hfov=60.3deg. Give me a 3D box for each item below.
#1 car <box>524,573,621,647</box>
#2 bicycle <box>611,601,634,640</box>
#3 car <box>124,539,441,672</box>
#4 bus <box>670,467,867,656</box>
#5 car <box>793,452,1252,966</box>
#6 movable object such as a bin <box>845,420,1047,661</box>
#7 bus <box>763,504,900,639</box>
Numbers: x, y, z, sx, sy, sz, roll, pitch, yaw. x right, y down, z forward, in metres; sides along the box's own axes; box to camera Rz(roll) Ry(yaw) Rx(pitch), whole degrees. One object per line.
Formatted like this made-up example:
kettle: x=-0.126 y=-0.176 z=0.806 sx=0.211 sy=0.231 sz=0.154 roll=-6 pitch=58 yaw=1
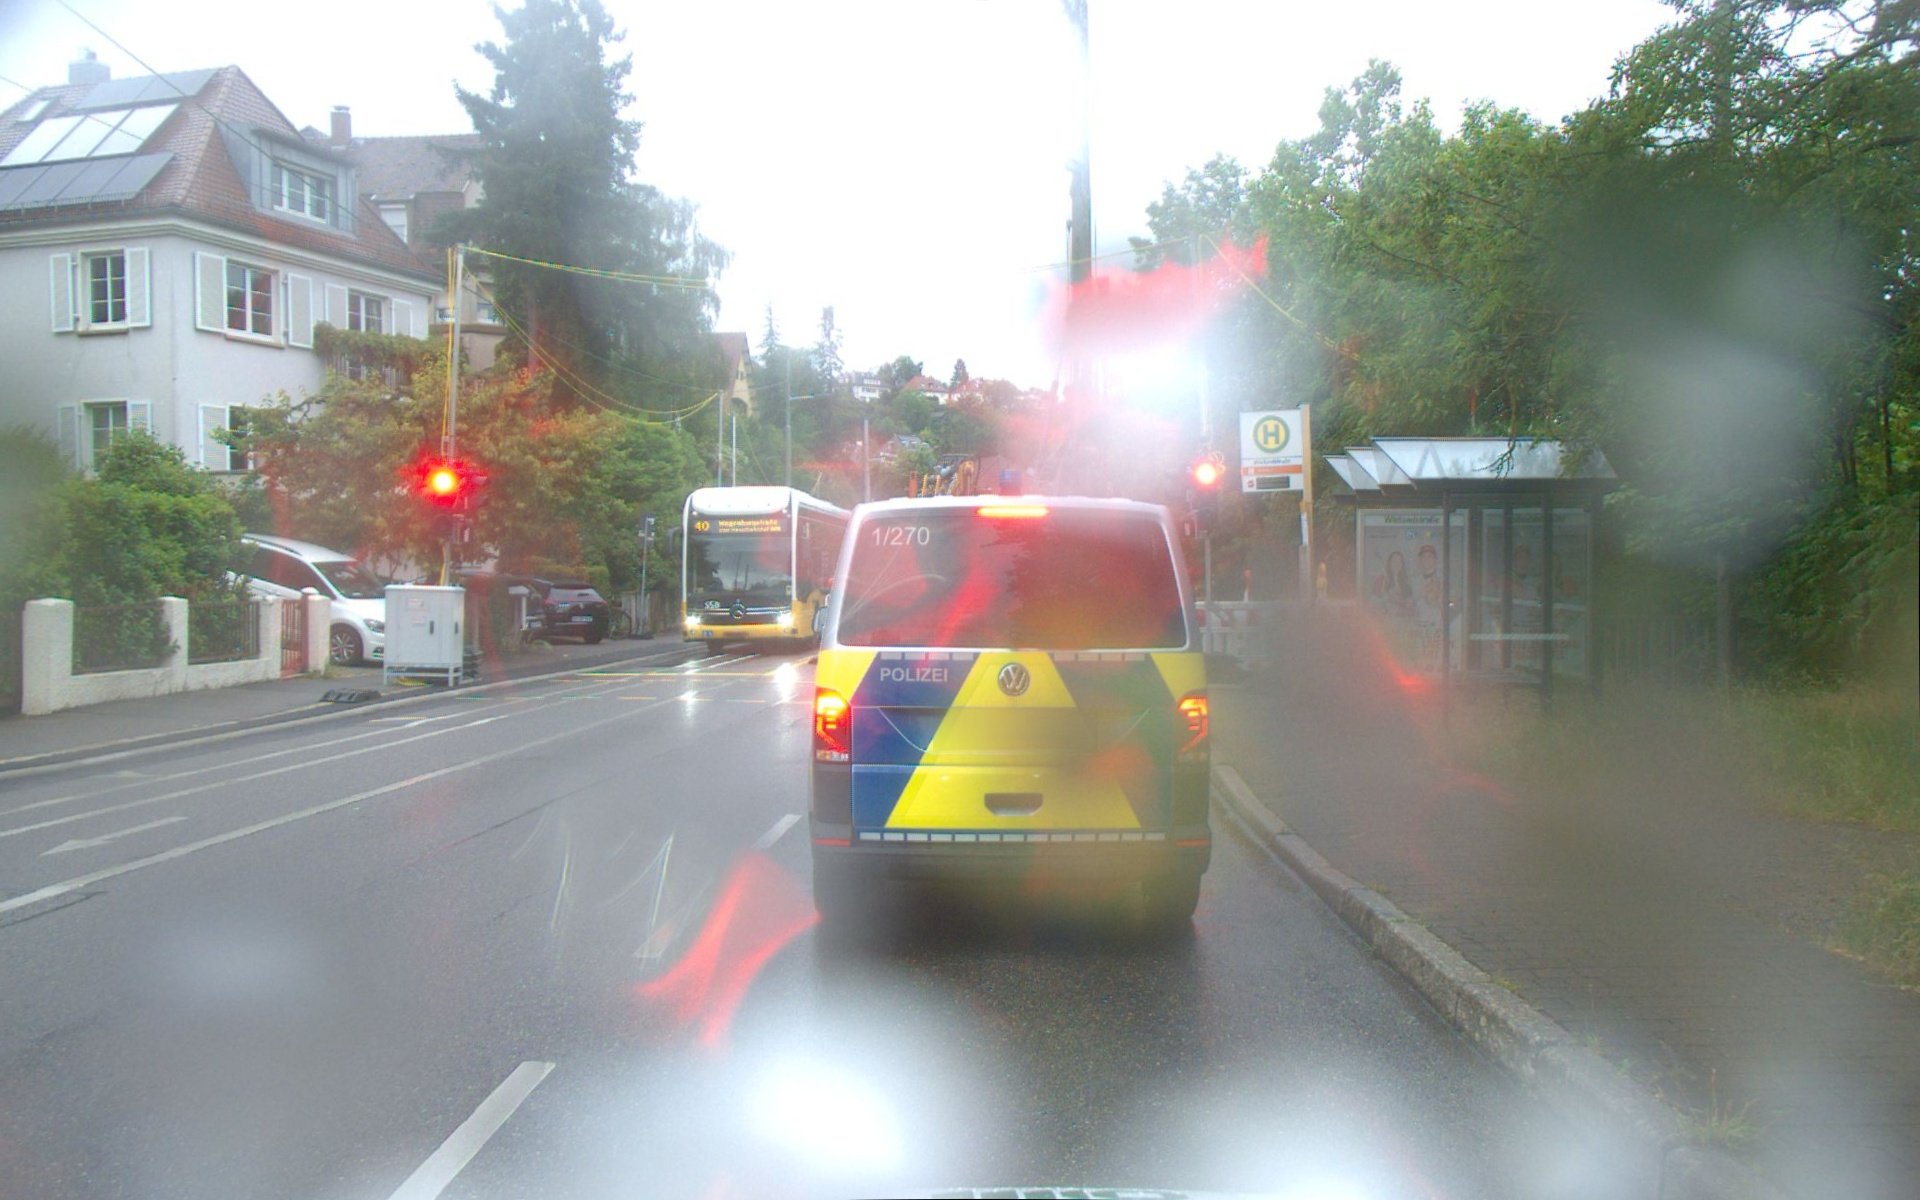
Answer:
car: x=-8.903 y=0.186 z=37.812 sx=1.739 sy=1.512 sz=3.721 roll=1 pitch=2 yaw=-20
bicycle: x=-8.046 y=0.477 z=39.438 sx=0.455 sy=0.913 sz=1.628 roll=0 pitch=0 yaw=-15
car: x=-11.202 y=0.065 z=27.474 sx=4.532 sy=2.042 sz=1.902 roll=1 pitch=0 yaw=11
bus: x=-4.228 y=-0.824 z=39.579 sx=2.782 sy=3.783 sz=12.009 roll=1 pitch=0 yaw=2
car: x=0.232 y=0.439 z=8.804 sx=1.855 sy=2.086 sz=3.999 roll=1 pitch=0 yaw=-1
movable object such as a bin: x=-0.159 y=-1.086 z=31.622 sx=2.770 sy=4.250 sz=4.384 roll=1 pitch=0 yaw=14
bus: x=-3.765 y=-0.828 z=51.569 sx=2.782 sy=3.688 sz=12.009 roll=1 pitch=0 yaw=2
